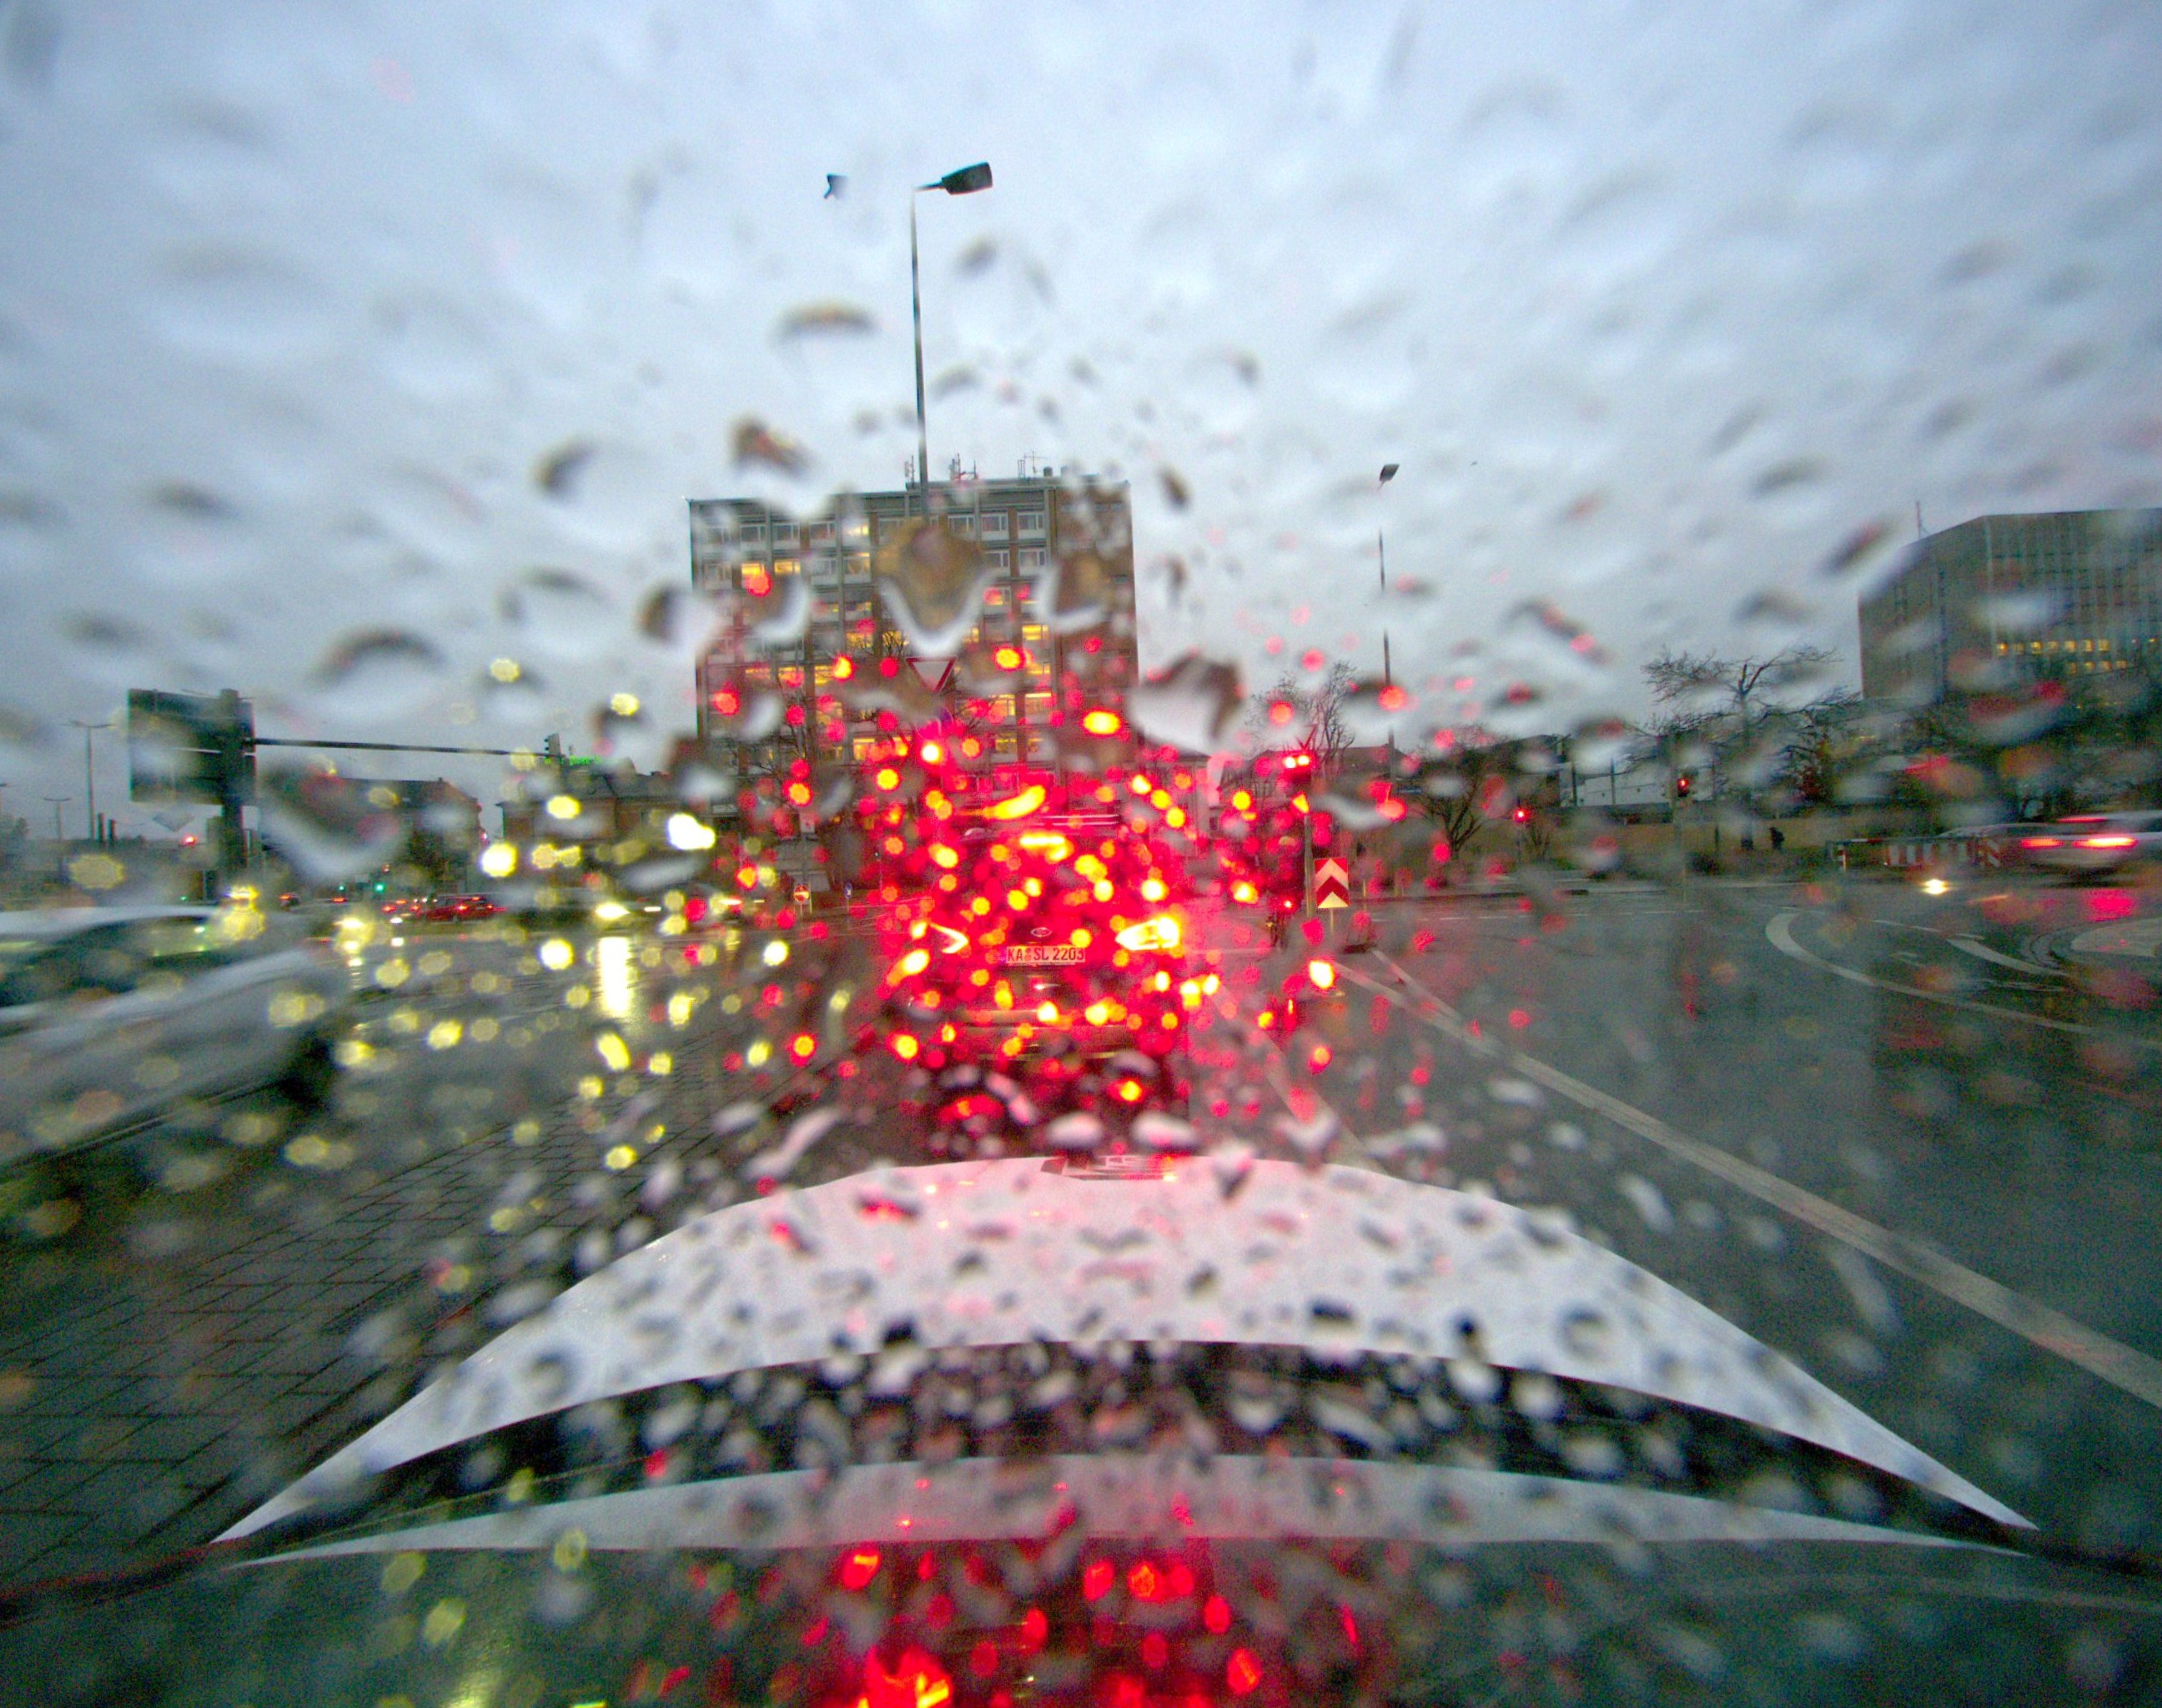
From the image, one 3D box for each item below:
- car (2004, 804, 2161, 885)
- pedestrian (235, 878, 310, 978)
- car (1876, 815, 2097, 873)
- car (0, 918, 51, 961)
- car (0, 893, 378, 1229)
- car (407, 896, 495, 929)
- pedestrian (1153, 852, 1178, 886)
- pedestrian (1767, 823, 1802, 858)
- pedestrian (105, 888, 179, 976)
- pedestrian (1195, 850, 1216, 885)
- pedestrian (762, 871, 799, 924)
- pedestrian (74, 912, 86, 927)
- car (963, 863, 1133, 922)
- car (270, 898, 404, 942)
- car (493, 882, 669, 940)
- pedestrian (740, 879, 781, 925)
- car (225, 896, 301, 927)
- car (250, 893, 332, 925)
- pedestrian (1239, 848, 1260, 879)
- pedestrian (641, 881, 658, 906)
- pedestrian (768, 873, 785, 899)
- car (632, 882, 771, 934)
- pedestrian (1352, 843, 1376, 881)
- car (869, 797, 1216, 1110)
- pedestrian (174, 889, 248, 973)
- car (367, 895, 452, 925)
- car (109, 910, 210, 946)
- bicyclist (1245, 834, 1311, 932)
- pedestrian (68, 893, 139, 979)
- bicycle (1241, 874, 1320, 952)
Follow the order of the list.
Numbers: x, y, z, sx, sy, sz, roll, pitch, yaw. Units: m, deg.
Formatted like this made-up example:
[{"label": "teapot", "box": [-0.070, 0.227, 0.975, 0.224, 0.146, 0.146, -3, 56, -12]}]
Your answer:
[{"label": "car", "box": [22.726, -0.274, 16.792, 4.655, 1.552, 1.944, -3, -1, 10]}, {"label": "pedestrian", "box": [-17.318, 1.553, 17.469, 0.996, 2.021, 0.792, -3, 0, -39]}, {"label": "car", "box": [27.529, -0.267, 24.896, 4.390, 1.477, 1.814, -3, -1, 6]}, {"label": "car", "box": [-44.525, 3.539, 33.379, 3.952, 1.577, 1.785, -3, 0, 22]}, {"label": "car", "box": [-5.871, 1.039, 4.182, 1.741, 1.448, 3.698, -5, -1, -12]}, {"label": "car", "box": [-33.327, 3.057, 43.081, 3.954, 1.568, 1.836, -1, -1, 20]}, {"label": "pedestrian", "box": [4.511, 0.781, 43.475, 1.127, 1.720, 0.984, -3, 0, 12]}, {"label": "pedestrian", "box": [34.138, -0.661, 39.519, 0.957, 1.603, 0.796, -3, 0, 5]}, {"label": "pedestrian", "box": [-20.767, 1.707, 18.022, 0.733, 1.838, 0.674, -3, 0, -11]}, {"label": "pedestrian", "box": [6.840, 0.726, 44.623, 0.990, 1.799, 0.922, -3, 0, 10]}, {"label": "pedestrian", "box": [-11.812, 1.696, 32.010, 0.922, 1.978, 0.962, -3, 0, 8]}, {"label": "pedestrian", "box": [-141.117, 9.221, 114.816, 0.908, 2.013, 0.986, -3, 0, 42]}, {"label": "car", "box": [-0.937, 1.110, 23.863, 4.543, 1.477, 1.819, -3, -1, 16]}, {"label": "car", "box": [-29.702, 2.633, 32.545, 4.619, 1.477, 1.819, -3, -1, 17]}, {"label": "car", "box": [-15.000, 1.696, 24.468, 4.543, 1.477, 1.818, -3, -1, 15]}, {"label": "pedestrian", "box": [-13.988, 2.076, 35.599, 0.992, 1.842, 1.145, -3, 2, 23]}, {"label": "car", "box": [-45.935, 3.181, 45.728, 3.950, 1.568, 1.838, -1, -1, 26]}, {"label": "car", "box": [-51.156, 3.534, 52.777, 1.649, 1.826, 3.609, -1, -1, 39]}, {"label": "pedestrian", "box": [8.894, 0.489, 42.900, 0.920, 1.533, 1.045, -3, 0, 6]}, {"label": "pedestrian", "box": [-29.551, 2.691, 55.789, 0.634, 1.688, 0.640, -3, 0, 18]}, {"label": "pedestrian", "box": [-19.442, 2.042, 51.932, 0.753, 1.628, 0.560, -3, 0, 16]}, {"label": "car", "box": [-12.507, 1.768, 26.895, 3.923, 1.477, 1.820, -3, -1, 18]}, {"label": "pedestrian", "box": [16.578, 0.466, 47.712, 0.885, 2.113, 0.891, -3, 0, -16]}, {"label": "car", "box": [-0.162, 0.589, 6.692, 1.986, 1.789, 4.001, 0, -1, 2]}, {"label": "pedestrian", "box": [-19.432, 1.707, 18.206, 0.653, 1.755, 0.856, -3, 0, 18]}, {"label": "car", "box": [-38.401, 3.178, 46.625, 1.496, 1.461, 3.453, -1, -1, 31]}, {"label": "car", "box": [-42.757, 3.436, 37.775, 4.613, 1.477, 1.822, -3, -1, 25]}, {"label": "bicyclist", "box": [3.029, 0.433, 12.627, 0.780, 1.453, 1.134, 0, -1, 2]}, {"label": "pedestrian", "box": [-21.453, 1.780, 17.885, 0.741, 1.770, 0.546, -3, 0, -12]}, {"label": "bicycle", "box": [3.037, 0.859, 12.581, 0.780, 1.075, 1.958, 0, -1, 2]}]
